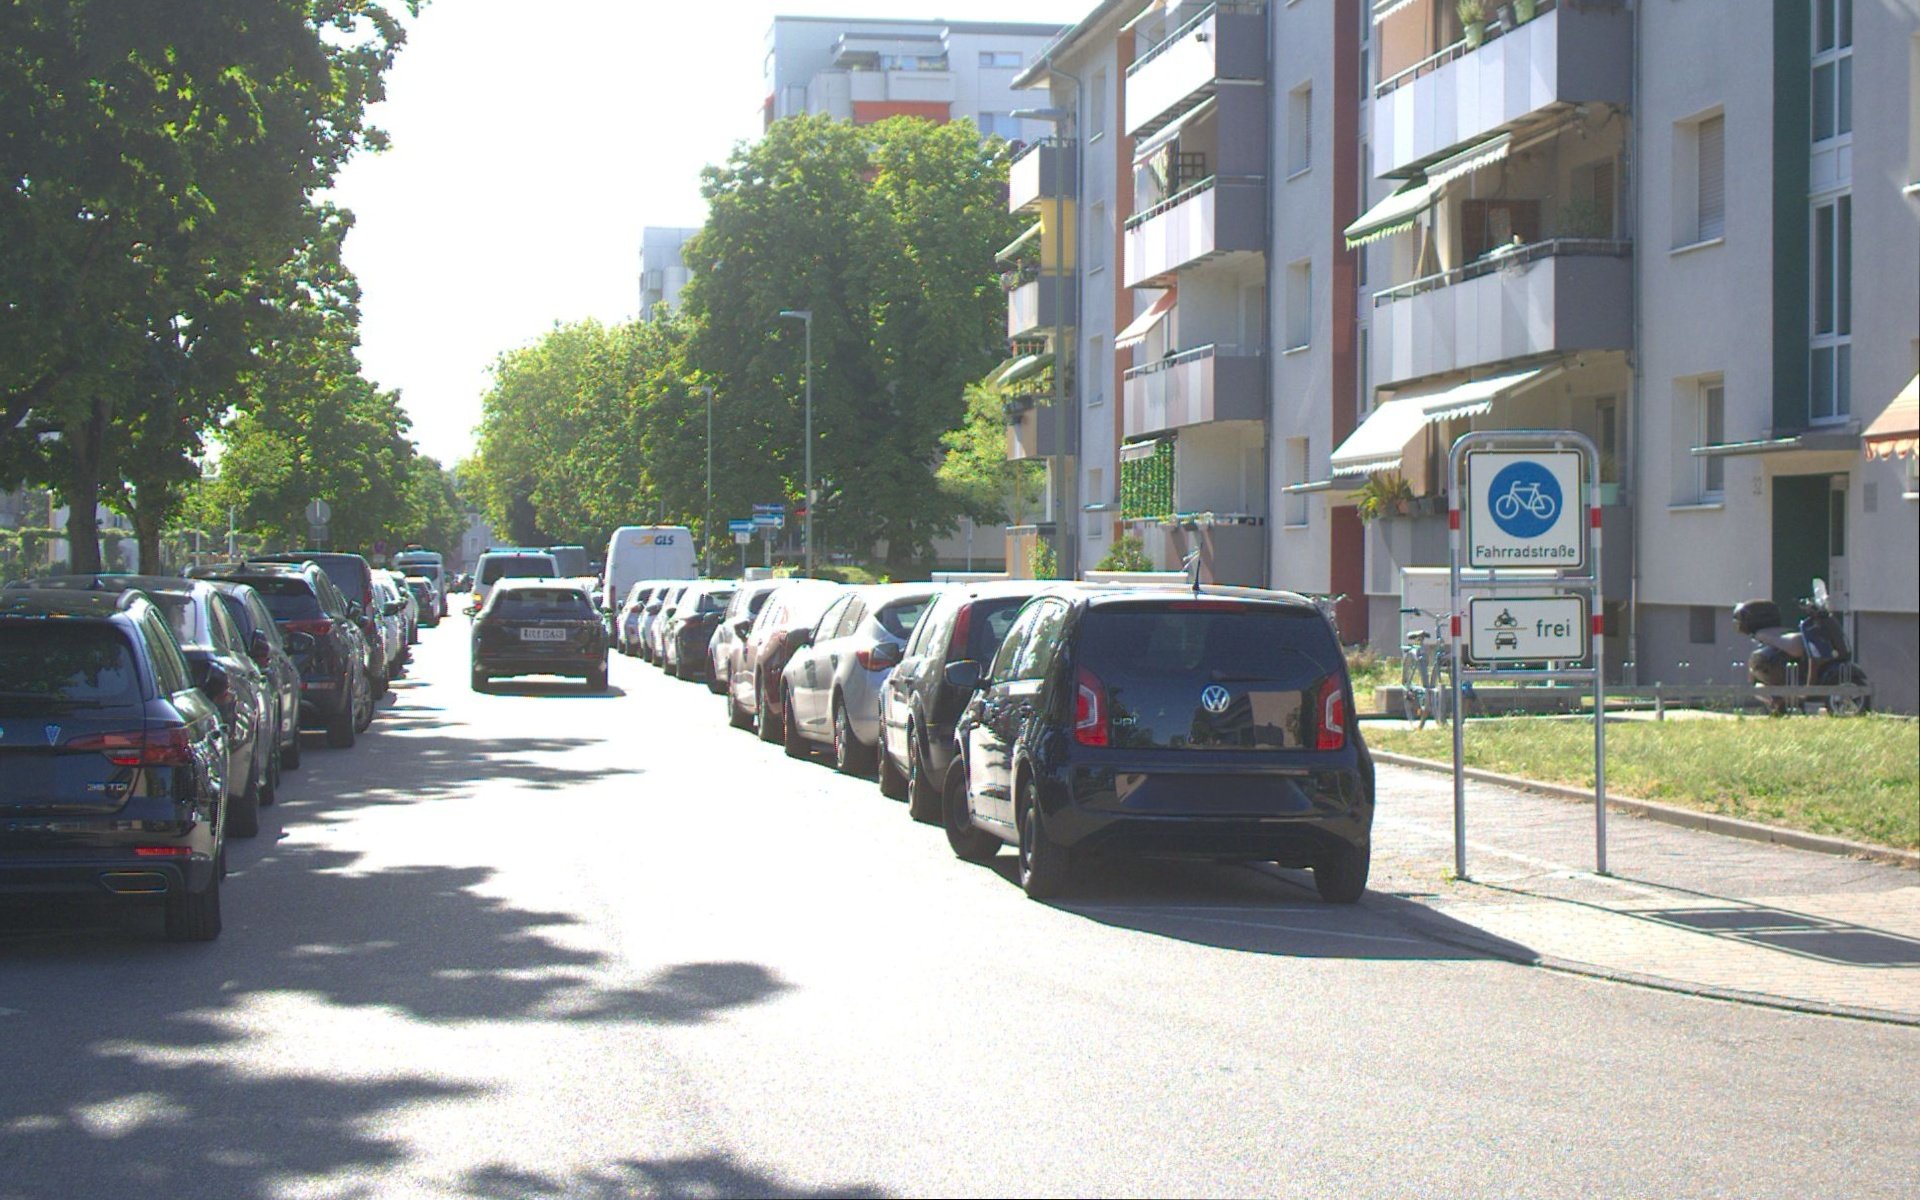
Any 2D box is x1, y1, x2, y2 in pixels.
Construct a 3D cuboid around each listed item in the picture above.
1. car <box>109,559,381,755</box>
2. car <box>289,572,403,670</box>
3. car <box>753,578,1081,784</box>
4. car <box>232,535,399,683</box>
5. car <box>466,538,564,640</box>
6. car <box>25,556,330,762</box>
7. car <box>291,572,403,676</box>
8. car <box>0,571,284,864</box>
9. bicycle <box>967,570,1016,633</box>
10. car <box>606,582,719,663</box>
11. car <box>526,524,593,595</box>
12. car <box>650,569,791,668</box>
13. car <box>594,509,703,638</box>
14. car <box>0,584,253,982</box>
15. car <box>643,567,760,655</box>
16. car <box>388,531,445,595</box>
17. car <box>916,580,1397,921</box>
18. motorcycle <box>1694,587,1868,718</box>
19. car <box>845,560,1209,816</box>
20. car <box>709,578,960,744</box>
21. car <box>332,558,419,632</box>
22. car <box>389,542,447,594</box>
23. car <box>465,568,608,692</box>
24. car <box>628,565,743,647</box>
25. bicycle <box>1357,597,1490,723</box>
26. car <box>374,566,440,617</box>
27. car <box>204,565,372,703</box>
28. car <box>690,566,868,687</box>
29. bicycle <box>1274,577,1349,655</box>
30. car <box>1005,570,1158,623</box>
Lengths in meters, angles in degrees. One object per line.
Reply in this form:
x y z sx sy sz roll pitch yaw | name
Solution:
-6.450 0.456 31.489 2.025 1.620 4.758 -1 1 -7 | car
-10.132 0.313 56.837 1.755 1.487 4.669 -1 1 -10 | car
-0.450 0.602 28.293 1.873 1.528 4.494 0 1 -12 | car
-8.134 0.111 43.722 1.864 1.778 4.992 0 0 -8 | car
-9.056 -0.246 70.097 1.894 1.984 4.011 -1 1 -7 | car
-5.781 0.412 25.788 1.880 1.414 3.804 0 0 -7 | car
-9.340 0.334 52.461 1.586 1.487 3.686 -1 1 -10 | car
-5.129 0.599 20.765 1.993 1.511 5.160 -1 1 -11 | car
0.599 0.037 66.148 0.595 1.172 2.014 1 -1 -9 | bicycle
-5.944 0.423 68.321 1.848 1.461 4.203 1 1 -10 | car
-15.511 -1.557 132.908 2.162 2.680 5.418 0 1 -11 | car
-3.737 0.253 52.978 1.699 1.430 4.473 -1 1 -10 | car
-6.965 -0.598 76.218 2.142 2.704 6.843 -1 1 -7 | car
-4.098 0.662 15.081 1.835 1.447 4.970 0 0 -10 | car
-4.421 0.156 58.367 1.721 1.431 4.153 0 1 -8 | car
-21.811 -1.482 138.001 2.098 2.488 4.127 0 0 -7 | car
0.867 0.673 17.333 1.658 1.469 3.794 2 0 -8 | car
7.480 0.460 31.429 0.582 1.147 2.038 0 0 -17 | motorcycle
0.330 0.505 22.786 1.769 1.524 4.558 0 1 -7 | car
-1.313 0.538 33.613 1.843 1.468 5.066 0 1 -9 | car
-13.477 -0.140 79.402 1.756 1.641 4.288 -1 1 -7 | car
-20.732 -1.224 131.678 2.098 1.936 4.127 0 0 -8 | car
-5.671 0.369 46.023 1.779 1.526 4.001 2 0 -7 | car
-5.114 0.088 63.700 1.877 1.470 4.141 0 1 -8 | car
4.143 0.524 30.825 0.719 1.074 1.897 1 0 -7 | bicycle
-16.276 -0.232 101.283 1.747 1.420 3.917 -2 0 -7 | car
-7.313 0.334 37.698 1.538 1.423 4.088 0 0 -7 | car
-2.385 0.307 44.500 1.747 1.494 3.862 0 1 -11 | car
4.998 0.216 48.946 0.523 1.067 2.010 -2 1 -9 | bicycle
3.297 -0.103 93.850 3.886 1.424 1.659 0 1 -12 | car
